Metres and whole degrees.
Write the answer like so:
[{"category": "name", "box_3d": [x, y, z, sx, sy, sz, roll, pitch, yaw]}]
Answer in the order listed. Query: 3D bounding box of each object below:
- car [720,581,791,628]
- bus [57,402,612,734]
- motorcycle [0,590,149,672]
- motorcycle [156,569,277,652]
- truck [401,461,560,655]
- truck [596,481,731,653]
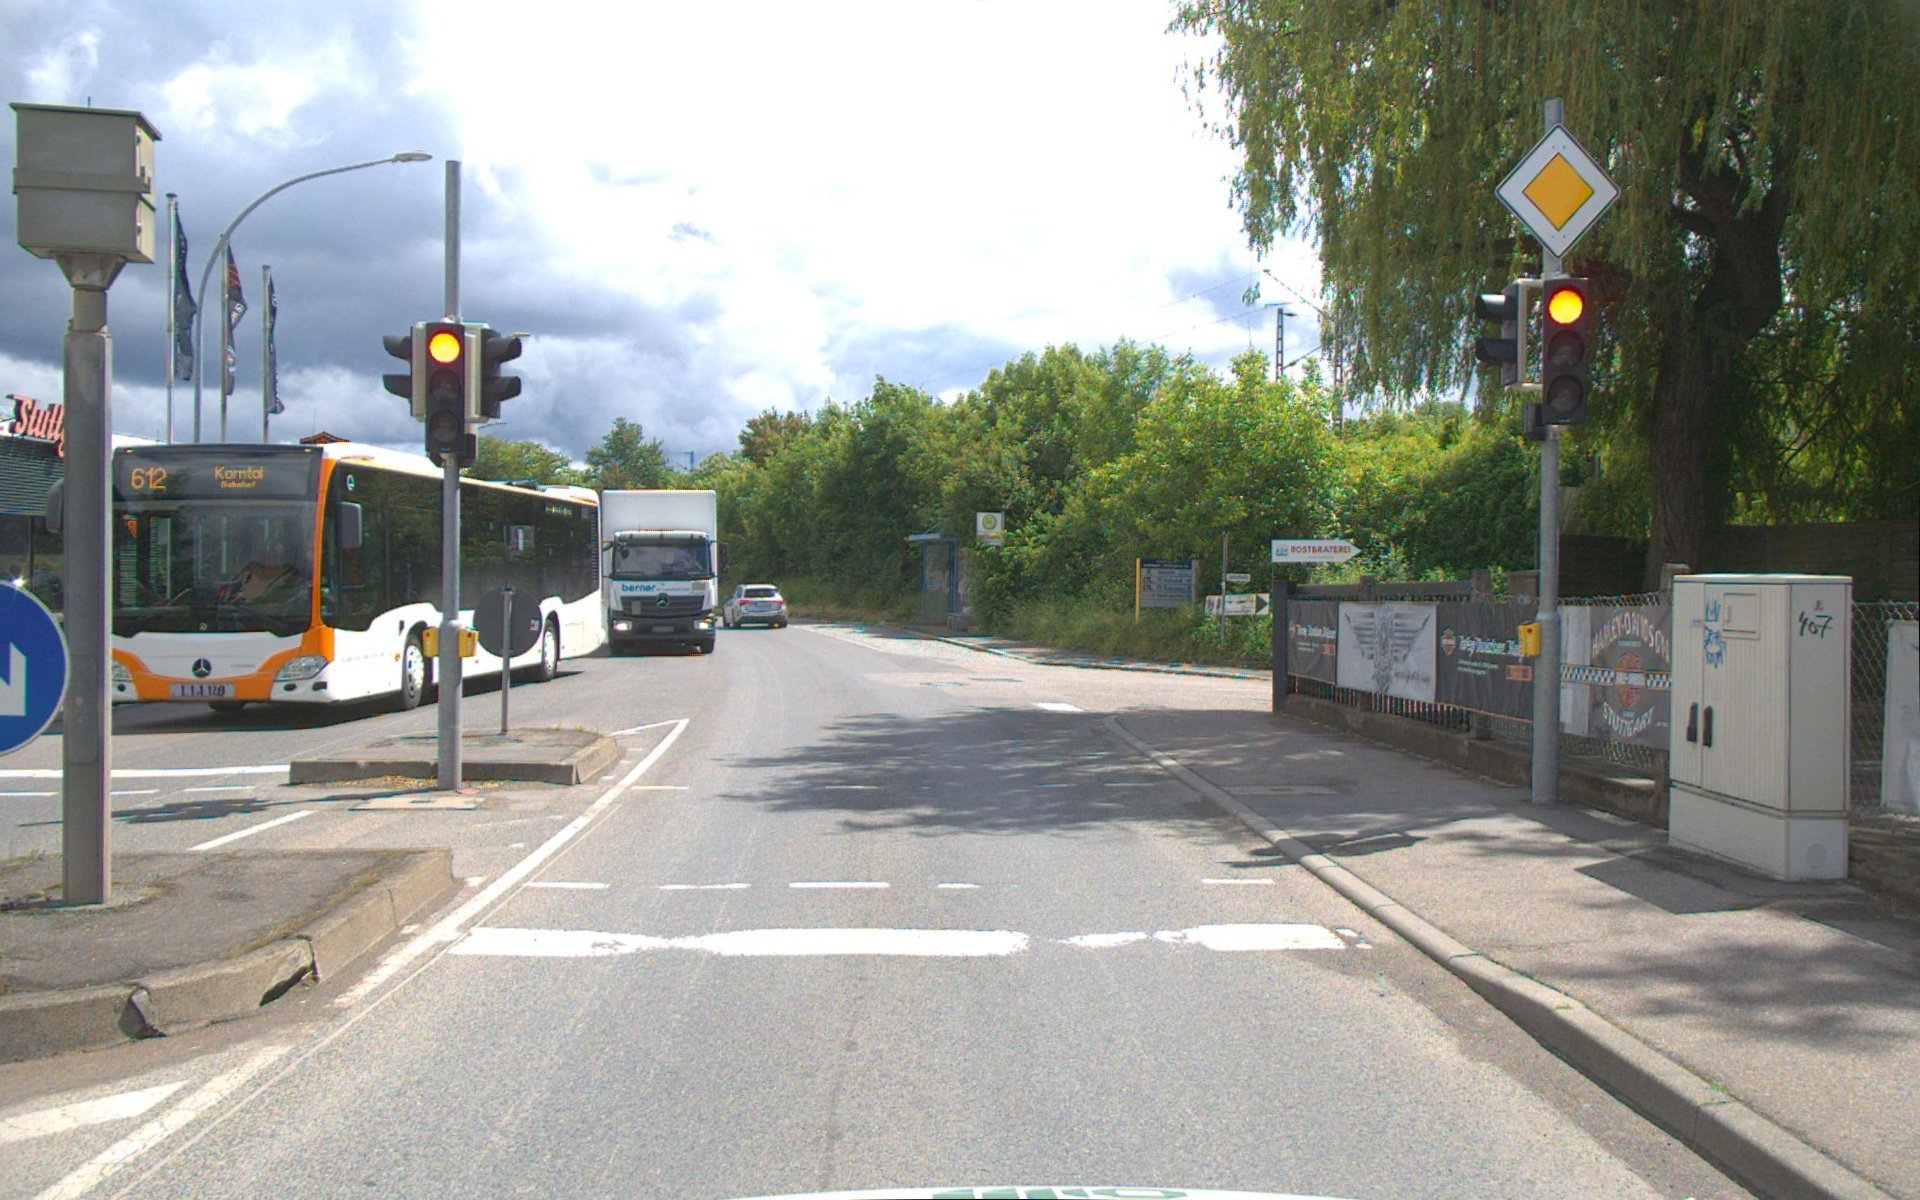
[{"category": "car", "box_3d": [-6.934, 0.119, 55.764, 1.854, 1.534, 3.983, 0, 1, -15]}, {"category": "bus", "box_3d": [-7.586, -0.382, 22.742, 2.720, 3.323, 12.126, -1, 1, 1]}, {"category": "motorcycle", "box_3d": [-14.558, 0.491, 26.995, 2.448, 1.239, 0.926, 1, 0, 20]}, {"category": "motorcycle", "box_3d": [-15.999, 0.217, 35.597, 2.255, 1.713, 1.042, 1, 0, 20]}, {"category": "truck", "box_3d": [-11.736, -0.934, 41.283, 2.383, 4.203, 9.133, 2, 0, -8]}, {"category": "truck", "box_3d": [-7.071, -0.738, 39.645, 2.788, 3.602, 9.701, 0, 0, -10]}]
